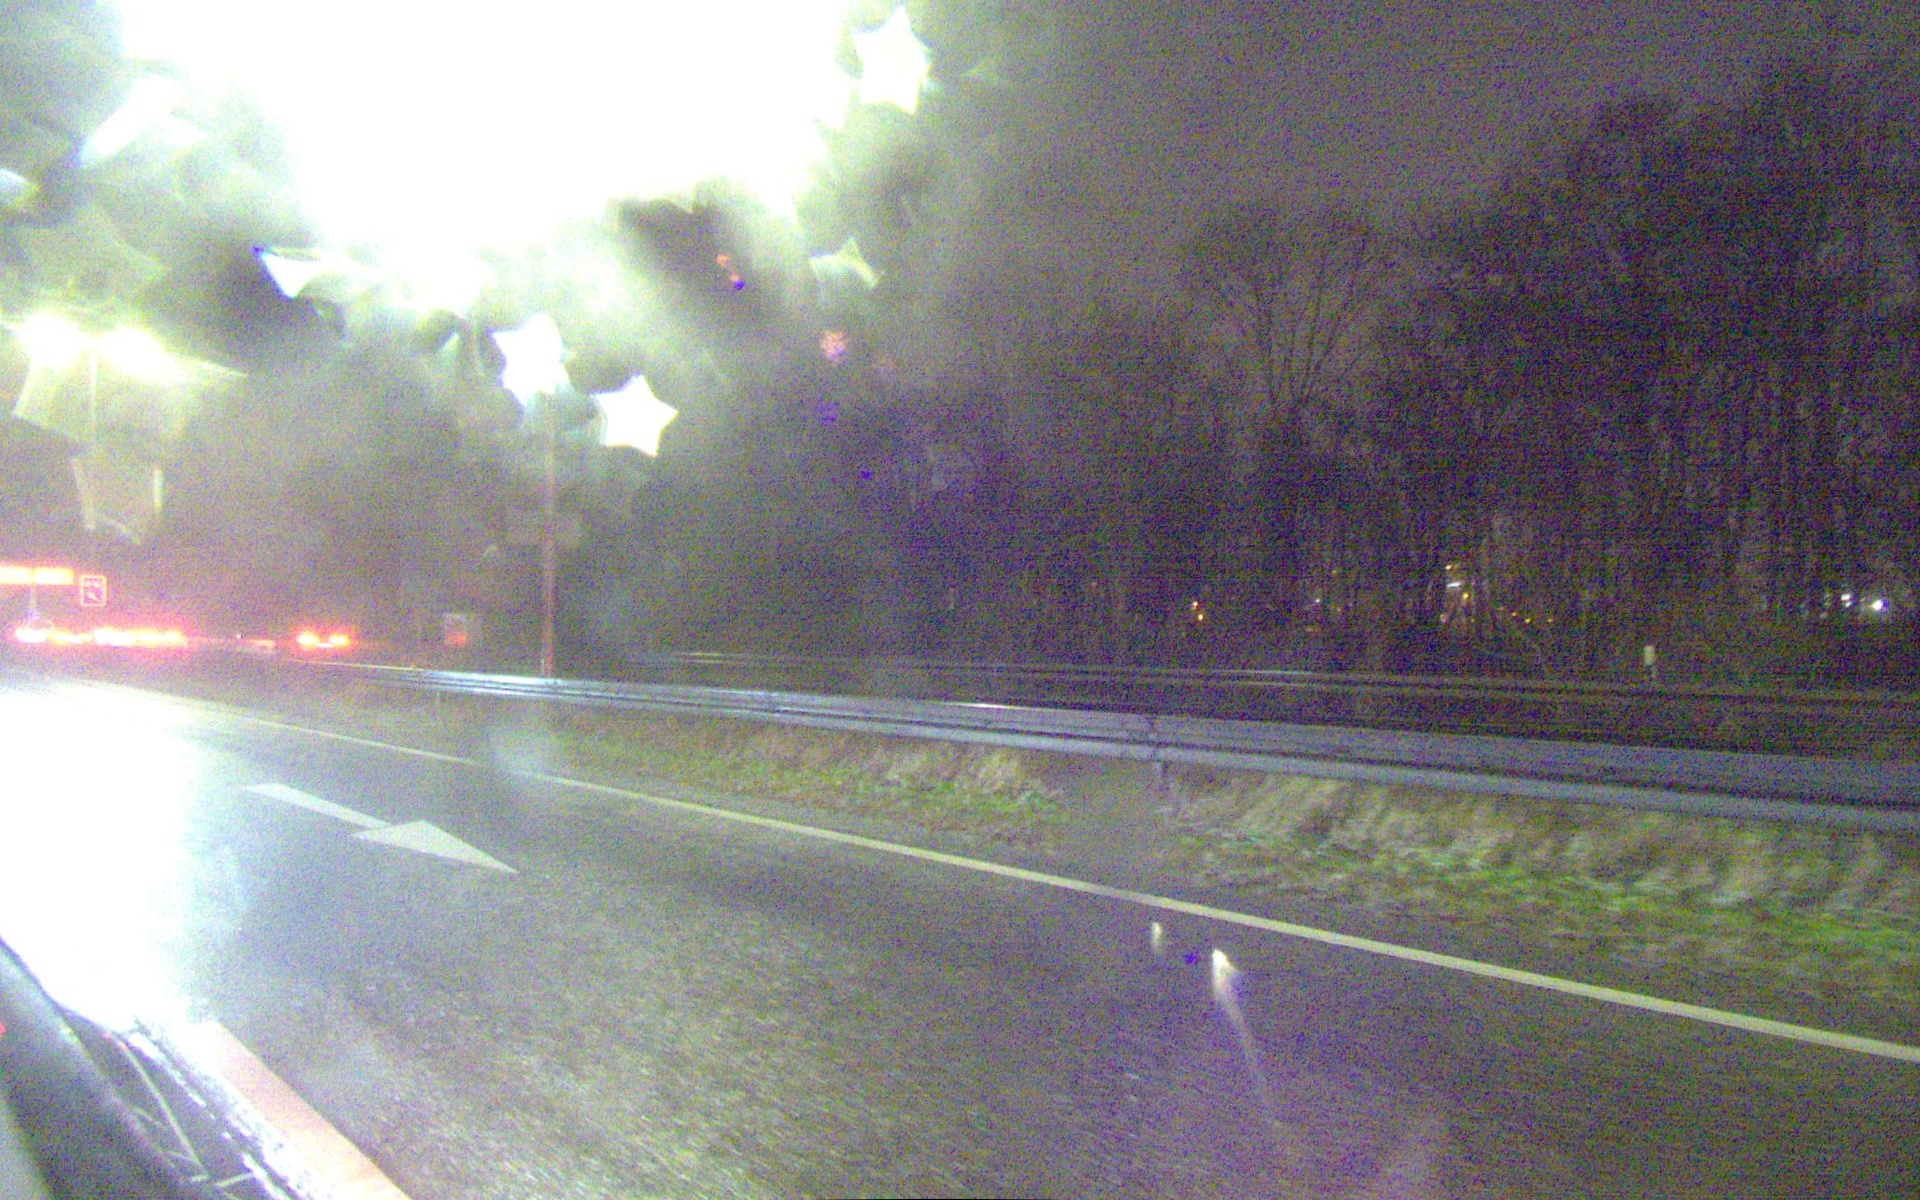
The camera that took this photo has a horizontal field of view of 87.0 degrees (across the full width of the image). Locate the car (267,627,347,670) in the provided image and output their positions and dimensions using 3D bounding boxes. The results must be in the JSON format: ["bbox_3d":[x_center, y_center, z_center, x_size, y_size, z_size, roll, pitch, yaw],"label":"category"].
[{"bbox_3d":[-26.973,1.968,41.768,4.000,1.660,1.842,-2,-1,43],"label":"car"}]

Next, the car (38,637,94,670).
[{"bbox_3d":[-49.157,2.916,55.648,3.997,1.660,1.765,-2,-1,40],"label":"car"}]

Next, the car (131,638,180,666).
[{"bbox_3d":[-50.911,3.244,63.995,3.999,1.660,1.793,-2,-1,42],"label":"car"}]

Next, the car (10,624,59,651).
[{"bbox_3d":[-60.514,2.425,66.146,3.995,1.660,1.766,-2,-1,39],"label":"car"}]

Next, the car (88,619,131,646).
[{"bbox_3d":[-66.494,2.559,79.130,3.998,2.029,1.973,-2,-1,41],"label":"car"}]
